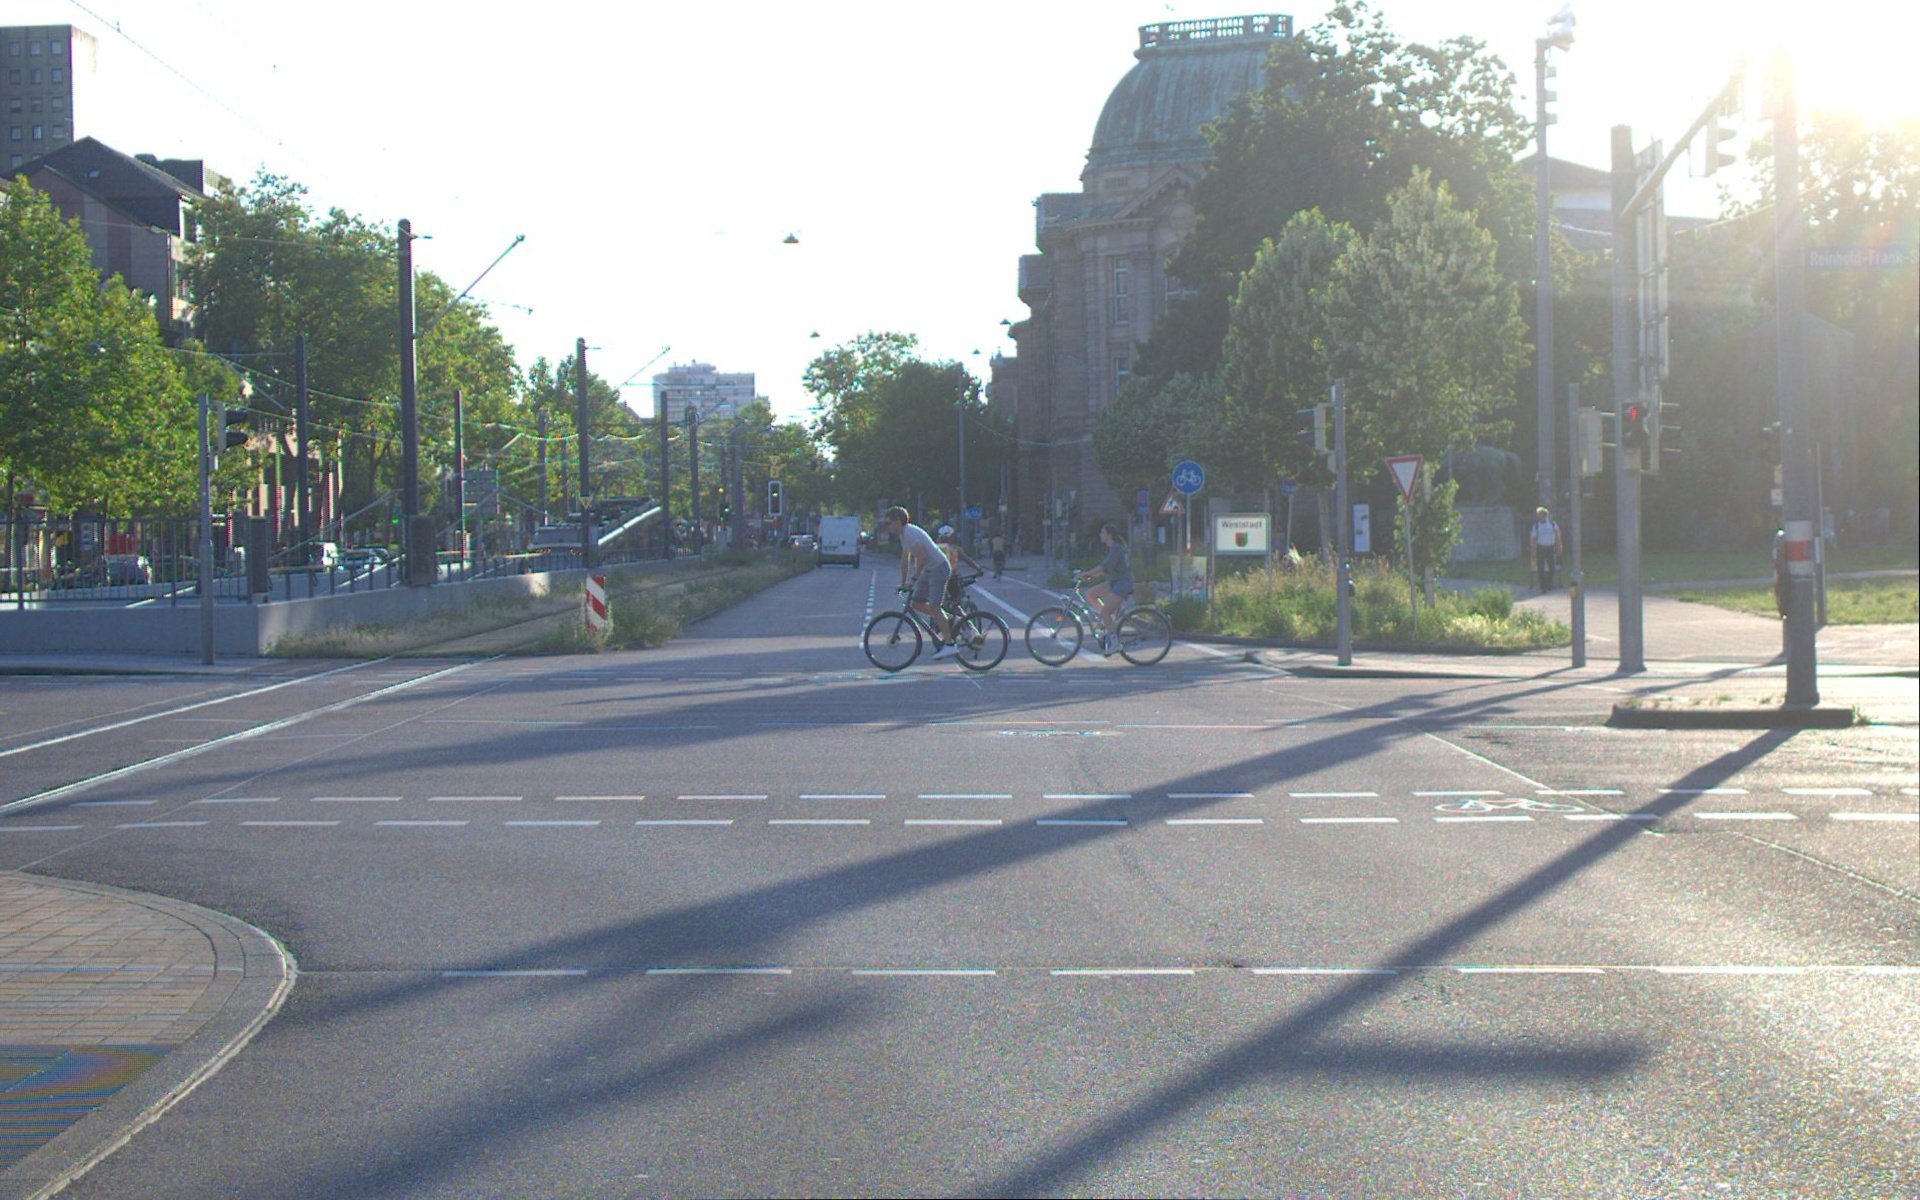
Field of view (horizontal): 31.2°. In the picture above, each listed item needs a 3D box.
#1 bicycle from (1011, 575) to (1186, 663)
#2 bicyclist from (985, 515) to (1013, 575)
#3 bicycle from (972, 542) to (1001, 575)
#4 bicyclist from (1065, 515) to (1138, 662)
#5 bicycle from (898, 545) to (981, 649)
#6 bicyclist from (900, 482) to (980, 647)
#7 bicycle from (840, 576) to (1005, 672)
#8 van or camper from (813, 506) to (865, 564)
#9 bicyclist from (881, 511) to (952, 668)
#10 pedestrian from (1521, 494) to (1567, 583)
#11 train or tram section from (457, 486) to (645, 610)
[{"bbox_3d":[1.718,0.235,42.818,2.164,1.080,0.539,0,0,0],"label":"bicycle"},{"bbox_3d":[1.321,-1.877,116.549,0.925,2.007,0.850,-1,1,-1],"label":"bicyclist"},{"bbox_3d":[0.909,-1.418,116.523,0.924,1.108,2.333,-1,1,-1],"label":"bicycle"},{"bbox_3d":[1.758,-0.144,42.812,0.876,1.812,0.538,-1,1,0],"label":"bicyclist"},{"bbox_3d":[-0.291,-0.064,47.893,1.098,1.394,2.832,-1,1,-1],"label":"bicycle"},{"bbox_3d":[-0.287,-0.497,47.855,1.082,2.268,0.986,0,1,-1],"label":"bicyclist"},{"bbox_3d":[-0.433,0.274,40.272,1.901,1.071,0.632,-1,1,1],"label":"bicycle"},{"bbox_3d":[-5.942,-3.165,168.530,2.449,2.761,5.601,-1,1,-2],"label":"van or camper"},{"bbox_3d":[-0.505,-0.127,40.257,0.793,1.812,0.646,-1,1,1],"label":"bicyclist"},{"bbox_3d":[11.953,-1.260,70.332,0.833,1.797,0.810,-1,1,15],"label":"pedestrian"},{"bbox_3d":[-14.180,-1.926,120.379,4.387,3.836,11.410,-1,3,4],"label":"train or tram section"}]
